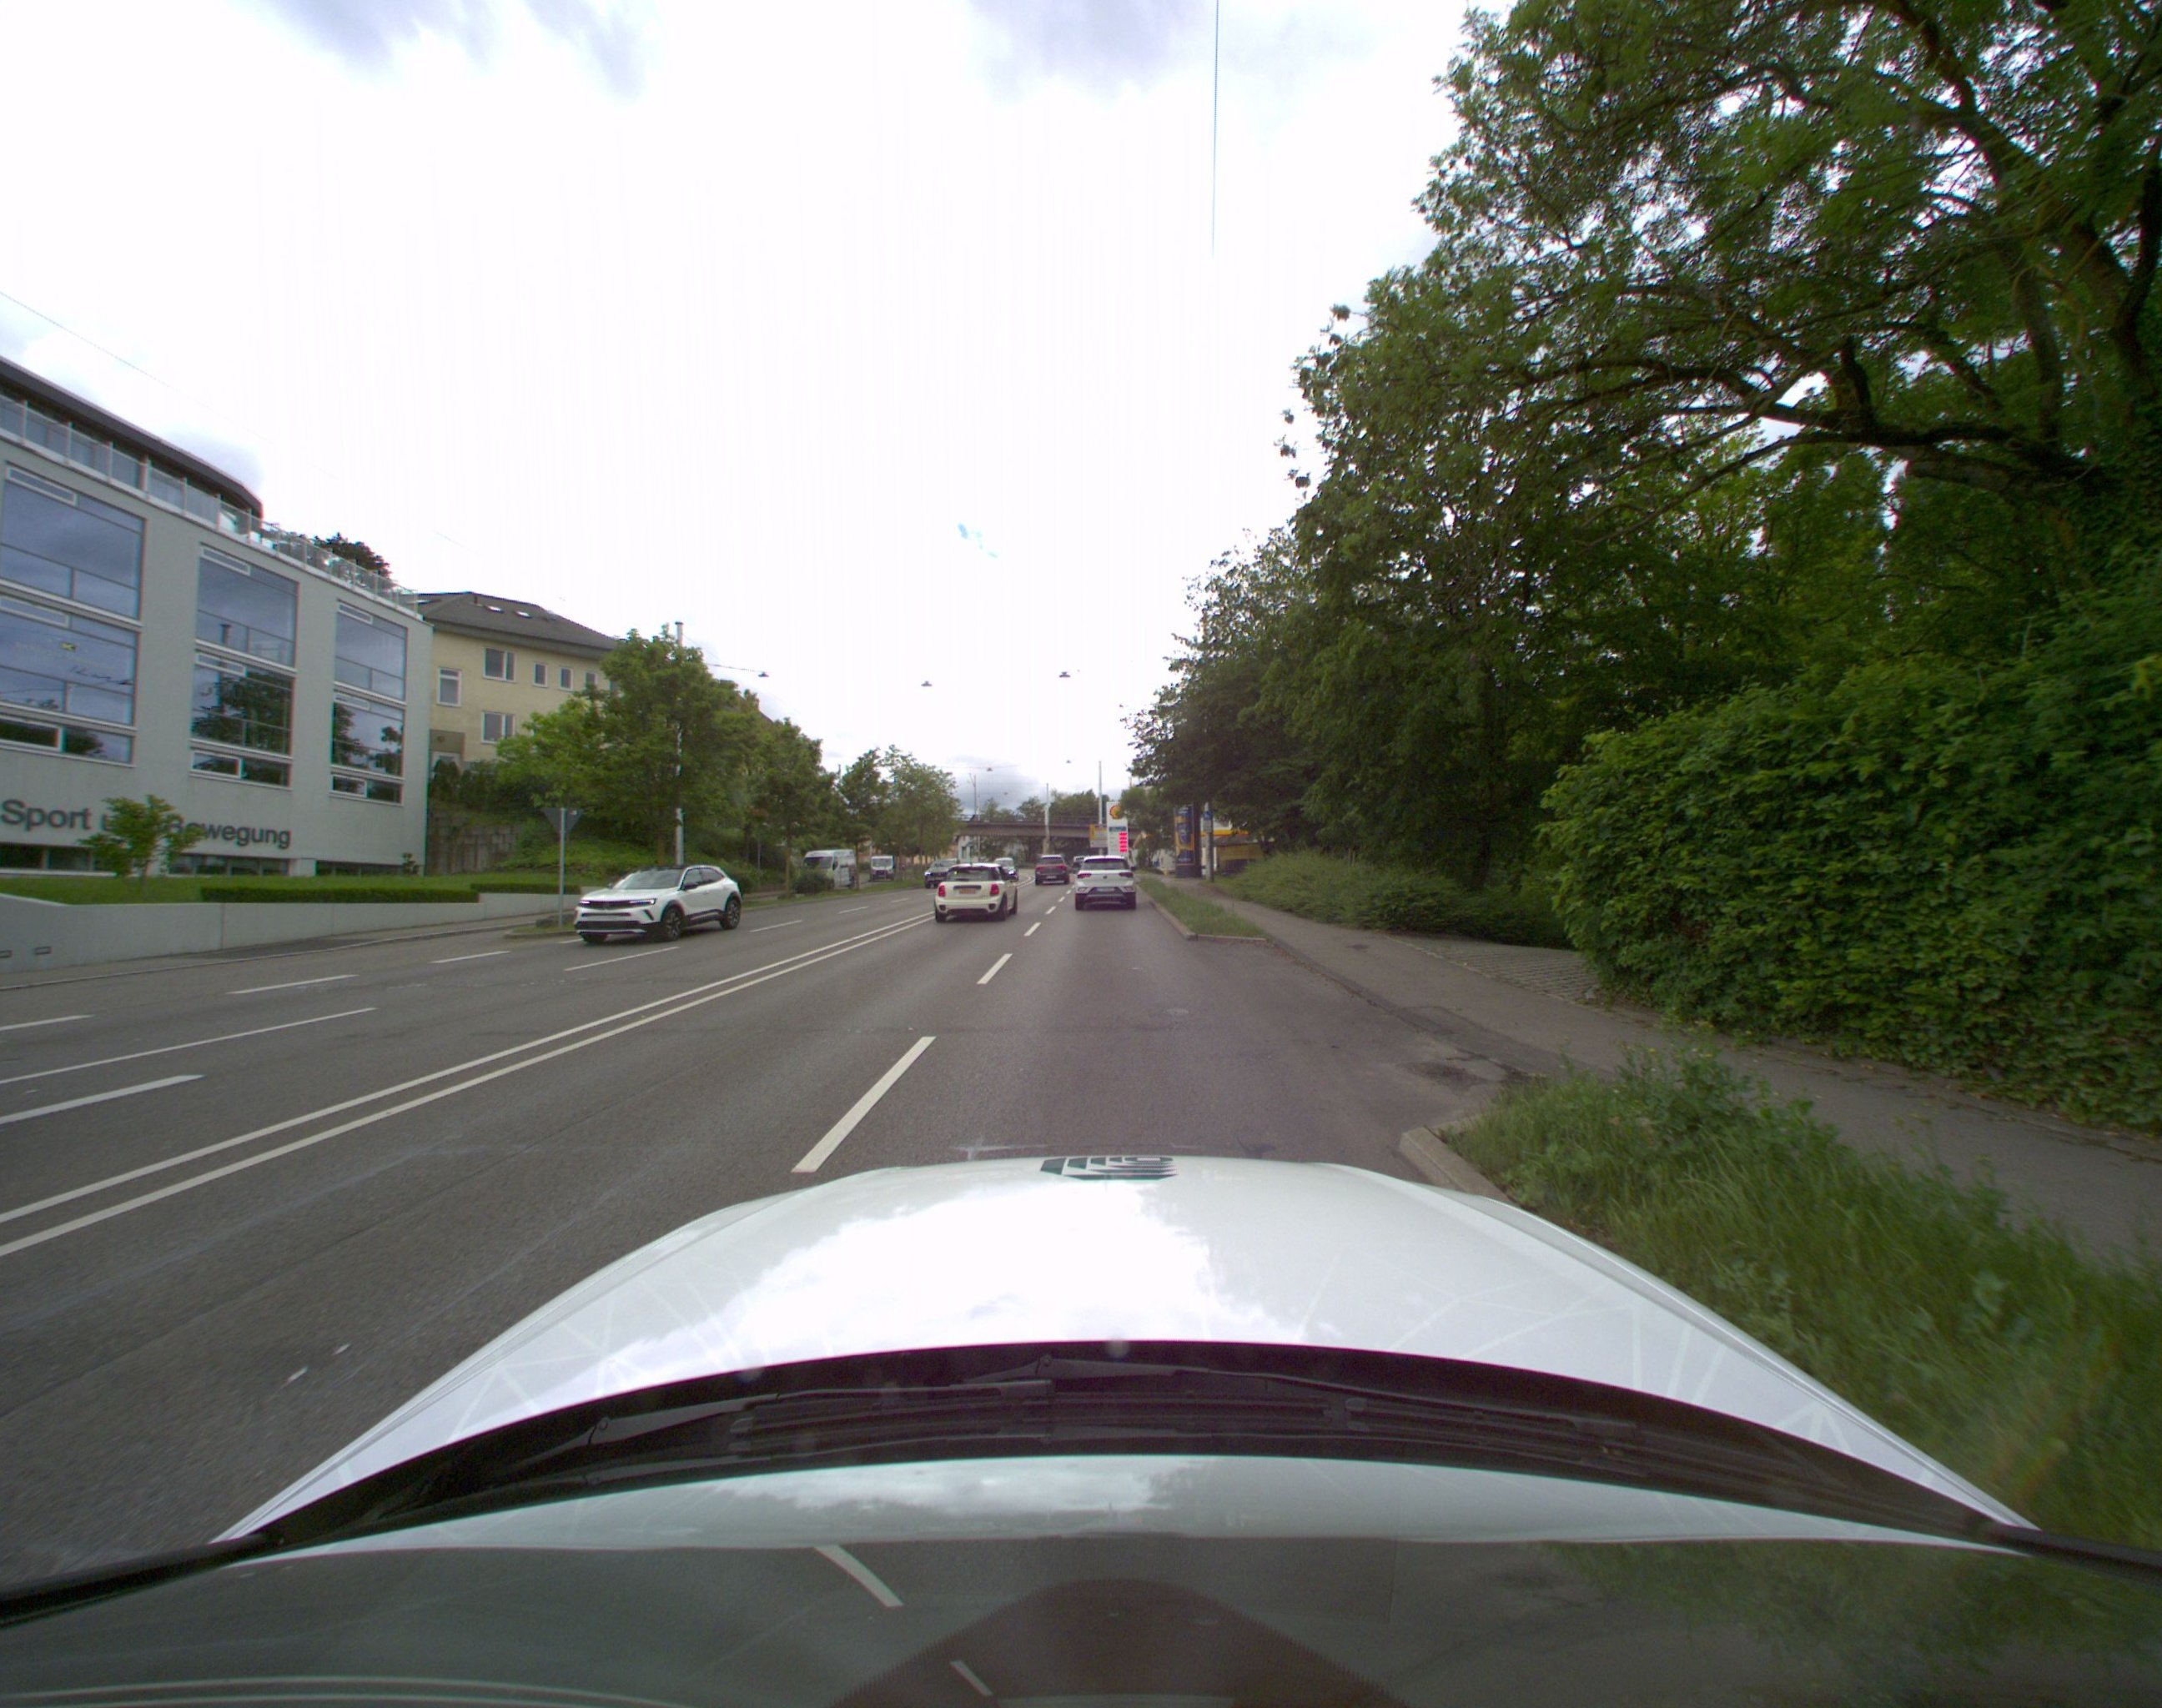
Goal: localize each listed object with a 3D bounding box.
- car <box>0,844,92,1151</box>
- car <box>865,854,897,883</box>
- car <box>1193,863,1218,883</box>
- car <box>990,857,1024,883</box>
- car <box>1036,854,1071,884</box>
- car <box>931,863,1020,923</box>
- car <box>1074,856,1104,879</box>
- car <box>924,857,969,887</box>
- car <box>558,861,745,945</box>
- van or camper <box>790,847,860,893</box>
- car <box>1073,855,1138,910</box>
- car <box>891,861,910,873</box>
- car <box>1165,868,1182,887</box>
[{"bbox_3d":[-7.056,0.815,2.581,1.839,1.703,4.767,-2,0,3],"label":"car"},{"bbox_3d":[-17.457,1.267,71.343,2.269,2.273,6.302,-2,-1,-11],"label":"car"},{"bbox_3d":[10.342,1.598,67.821,1.728,1.486,3.880,-2,-4,3],"label":"car"},{"bbox_3d":[-4.972,1.051,55.220,1.757,1.592,4.367,-1,0,2],"label":"car"},{"bbox_3d":[-1.530,0.819,45.725,1.716,1.640,3.458,-1,0,2],"label":"car"},{"bbox_3d":[-2.619,0.939,20.978,1.716,1.376,3.458,-1,0,2],"label":"car"},{"bbox_3d":[0.504,0.874,53.911,1.673,1.409,3.450,-1,0,-5],"label":"car"},{"bbox_3d":[-8.105,1.048,49.393,1.757,1.708,4.872,-1,0,2],"label":"car"},{"bbox_3d":[-9.008,0.961,17.507,1.793,1.542,3.924,-1,0,2],"label":"car"},{"bbox_3d":[-15.175,0.914,48.656,1.985,2.473,5.714,-2,-1,3],"label":"van or camper"},{"bbox_3d":[0.751,0.801,24.491,1.790,1.519,3.458,-1,0,2],"label":"car"},{"bbox_3d":[-27.492,1.977,123.790,1.794,1.575,4.430,-3,0,-26],"label":"car"},{"bbox_3d":[10.871,2.826,96.028,1.728,2.011,4.716,-2,-4,4],"label":"car"}]
